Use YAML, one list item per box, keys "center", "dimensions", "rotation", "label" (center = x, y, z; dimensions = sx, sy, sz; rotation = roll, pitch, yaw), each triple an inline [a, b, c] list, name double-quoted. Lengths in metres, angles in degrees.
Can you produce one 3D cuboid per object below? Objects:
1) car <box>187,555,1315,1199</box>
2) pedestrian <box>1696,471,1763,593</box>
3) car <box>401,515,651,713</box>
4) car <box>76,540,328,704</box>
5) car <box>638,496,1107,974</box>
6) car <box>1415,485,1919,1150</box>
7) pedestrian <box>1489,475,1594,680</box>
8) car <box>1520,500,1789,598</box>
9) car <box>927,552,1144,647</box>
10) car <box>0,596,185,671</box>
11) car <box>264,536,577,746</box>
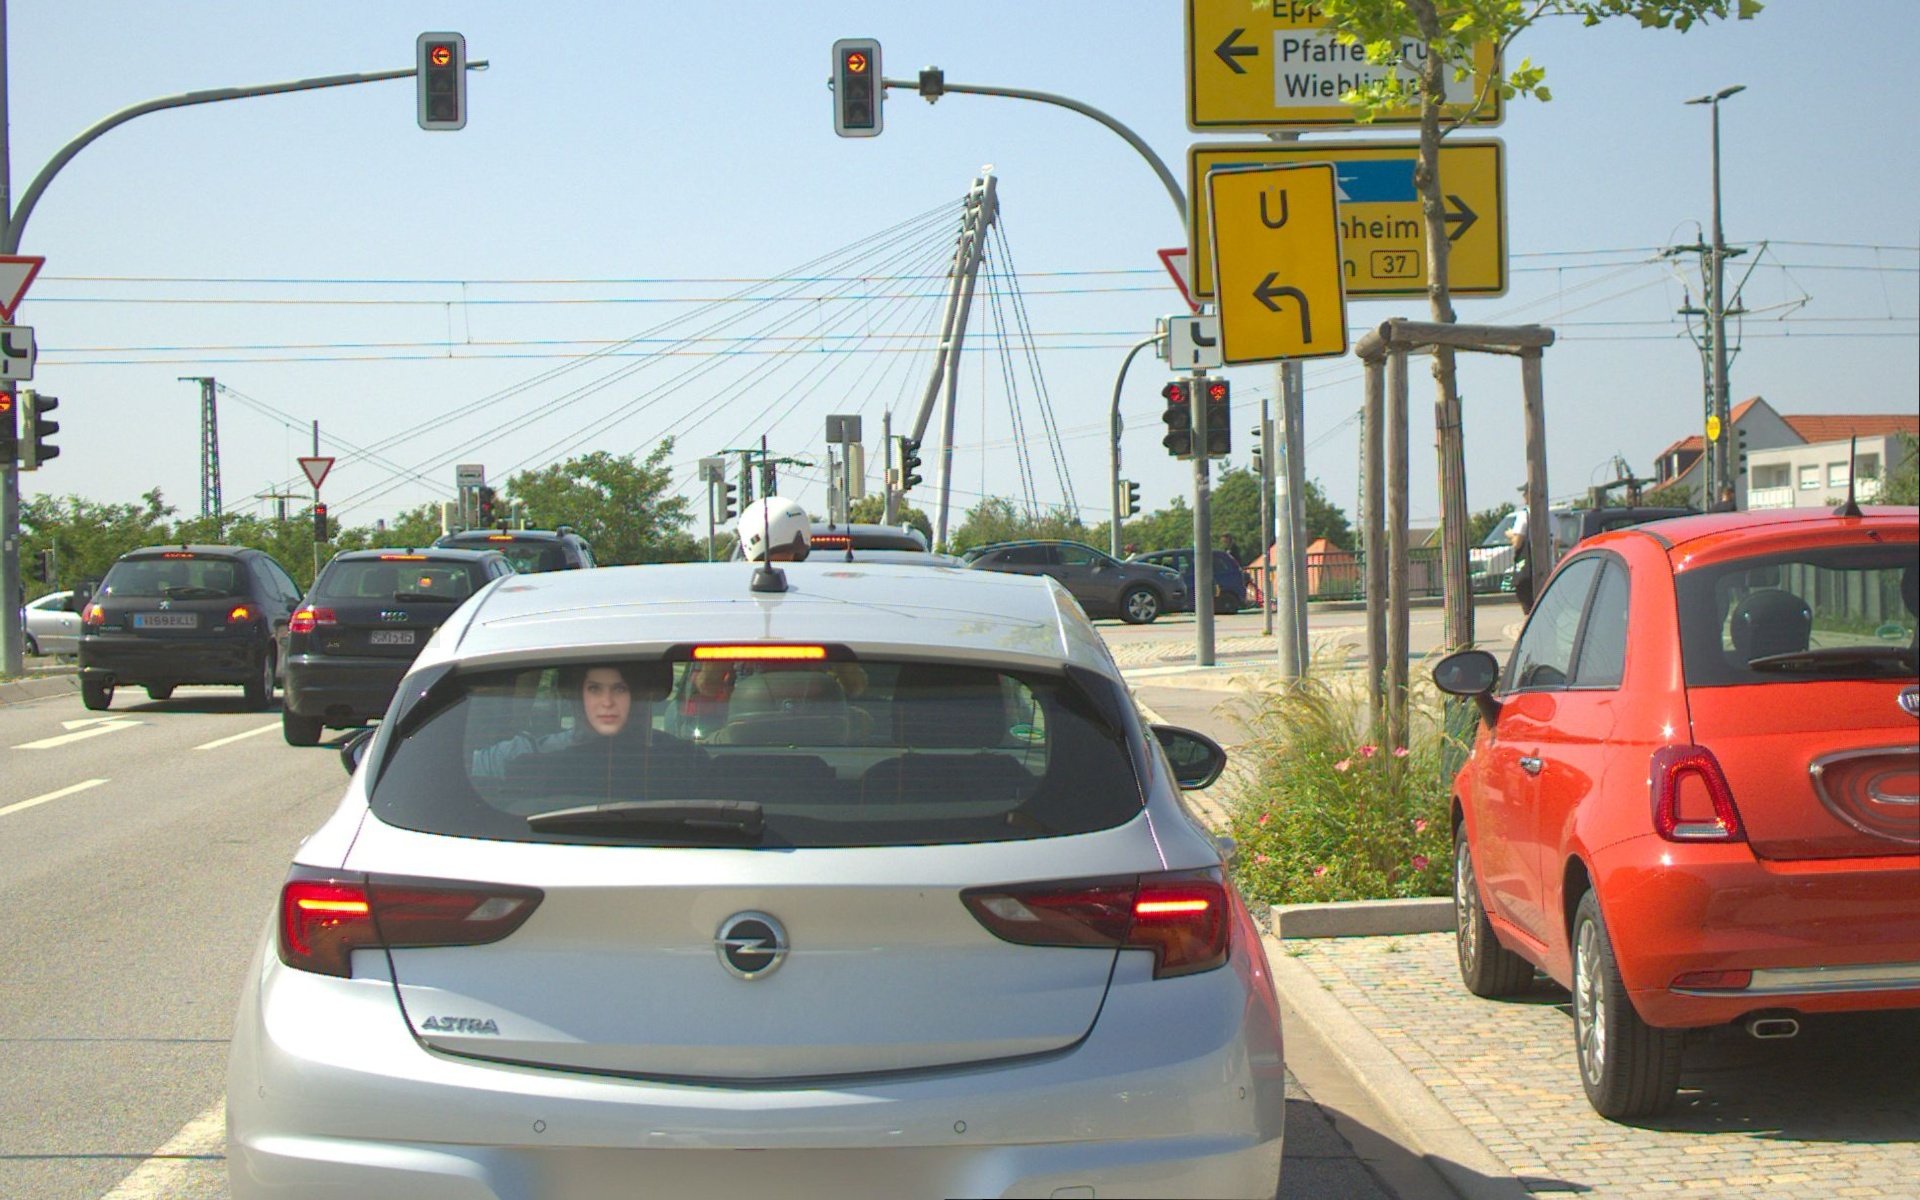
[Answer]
- center: [-0.360, 0.667, 7.308]
  dimensions: [1.690, 1.514, 4.271]
  rotation: [0, 1, -1]
  label: "car"
- center: [11.854, -1.048, 52.960]
  dimensions: [0.753, 1.857, 0.741]
  rotation: [1, 0, 37]
  label: "pedestrian"
- center: [-3.929, 0.116, 31.709]
  dimensions: [1.803, 1.616, 3.917]
  rotation: [-3, 0, -1]
  label: "car"
- center: [-6.763, 0.184, 30.954]
  dimensions: [1.587, 1.390, 3.340]
  rotation: [0, 0, -1]
  label: "car"
- center: [-0.354, 0.478, 14.138]
  dimensions: [1.634, 1.668, 3.745]
  rotation: [1, 0, -1]
  label: "car"
- center: [2.392, 0.487, 10.014]
  dimensions: [1.669, 1.534, 3.916]
  rotation: [-2, 0, 2]
  label: "car"
- center: [5.280, -0.206, 31.254]
  dimensions: [0.758, 1.823, 0.885]
  rotation: [1, 0, -1]
  label: "pedestrian"
- center: [13.131, -0.949, 65.112]
  dimensions: [4.546, 1.777, 2.001]
  rotation: [1, 0, -13]
  label: "car"
- center: [1.377, -0.009, 63.522]
  dimensions: [3.844, 1.678, 1.665]
  rotation: [1, 0, -4]
  label: "car"
- center: [-16.777, 0.628, 65.059]
  dimensions: [3.705, 1.328, 1.770]
  rotation: [1, 0, 17]
  label: "car"
- center: [-3.946, 0.278, 25.721]
  dimensions: [1.705, 1.407, 4.000]
  rotation: [2, 0, 0]
  label: "car"
